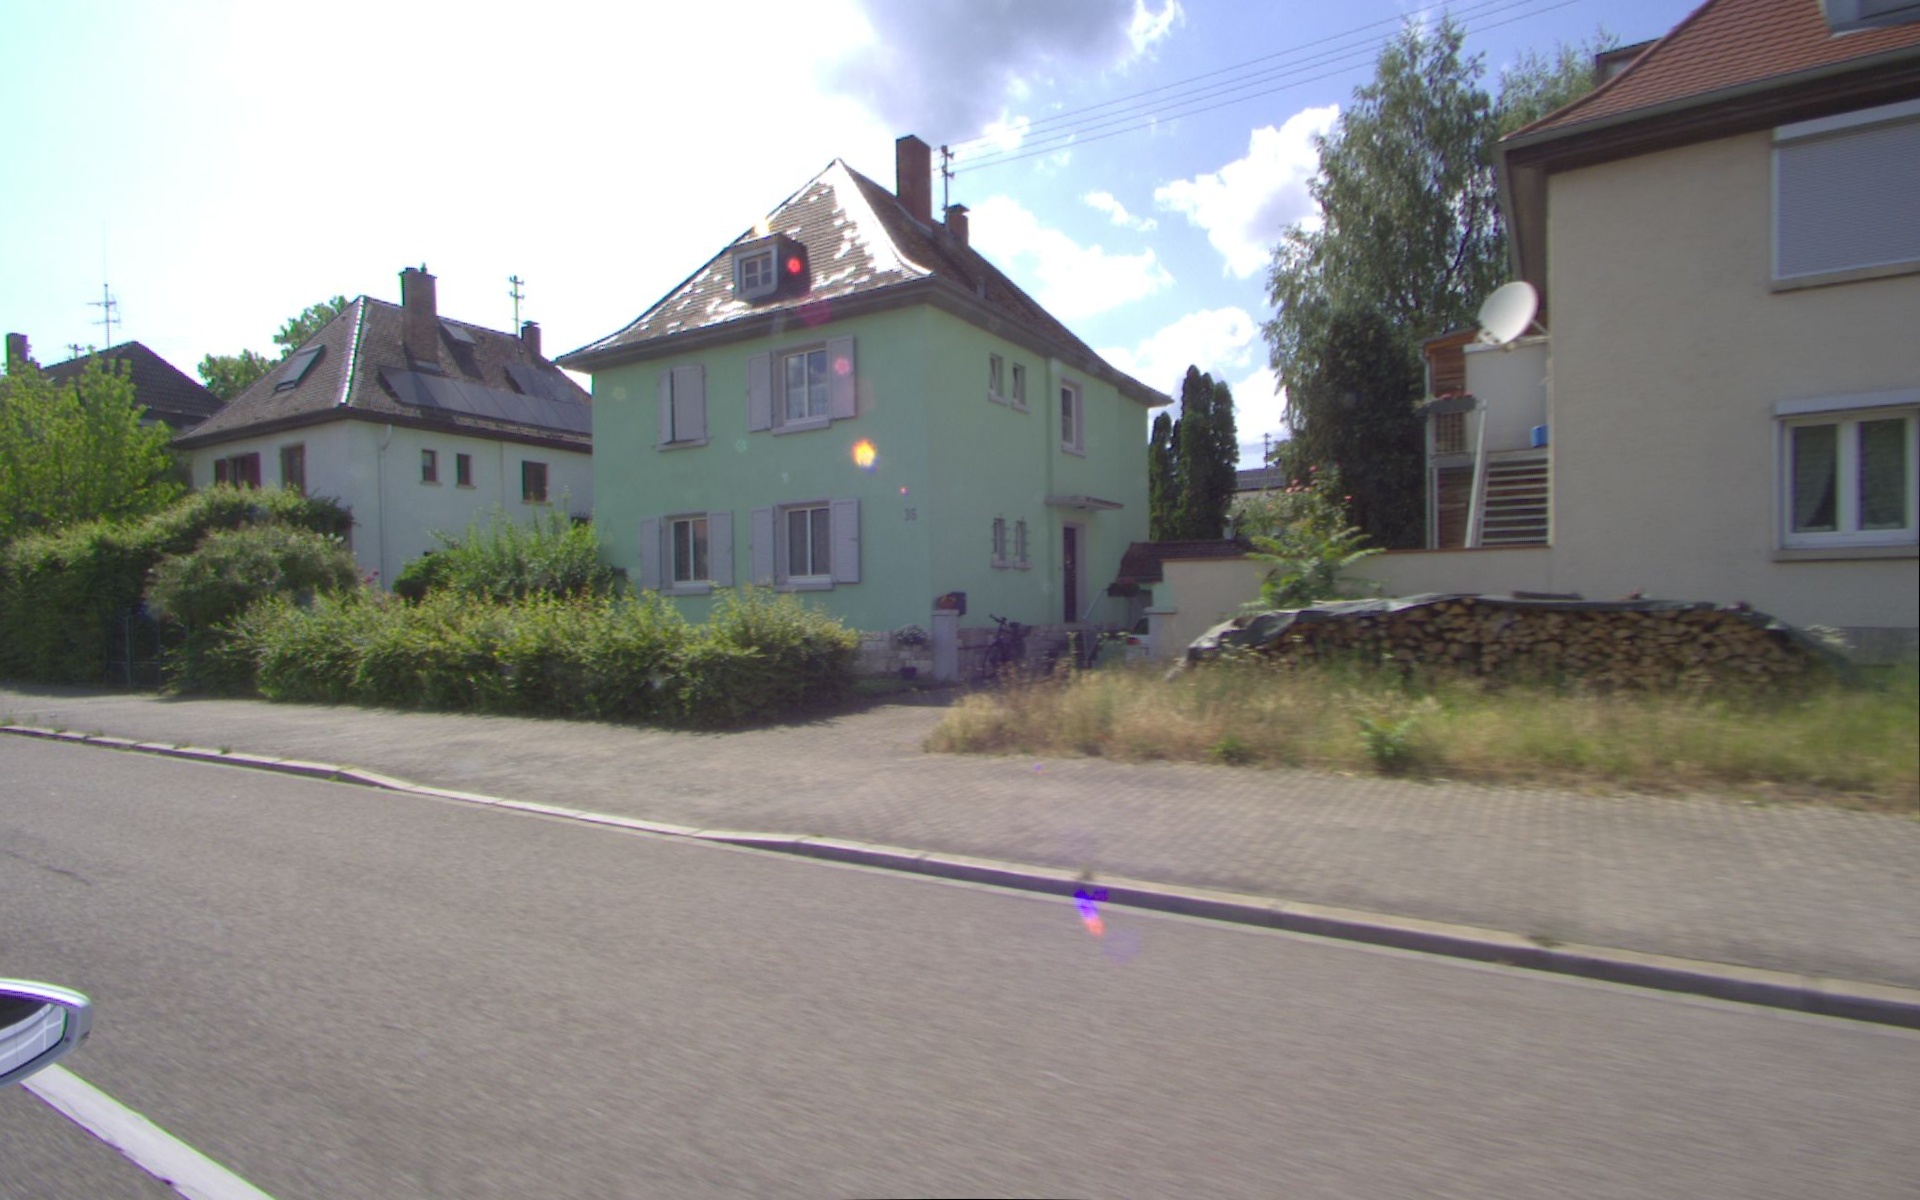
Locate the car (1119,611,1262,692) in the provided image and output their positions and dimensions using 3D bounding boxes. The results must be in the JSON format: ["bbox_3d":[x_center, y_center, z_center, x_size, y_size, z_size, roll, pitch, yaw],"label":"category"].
[{"bbox_3d":[4.768,1.023,20.301,1.713,1.466,3.982,-1,-2,31],"label":"car"}]

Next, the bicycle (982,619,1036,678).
[{"bbox_3d":[0.955,0.910,19.213,0.412,1.071,1.596,0,0,27],"label":"bicycle"}]
